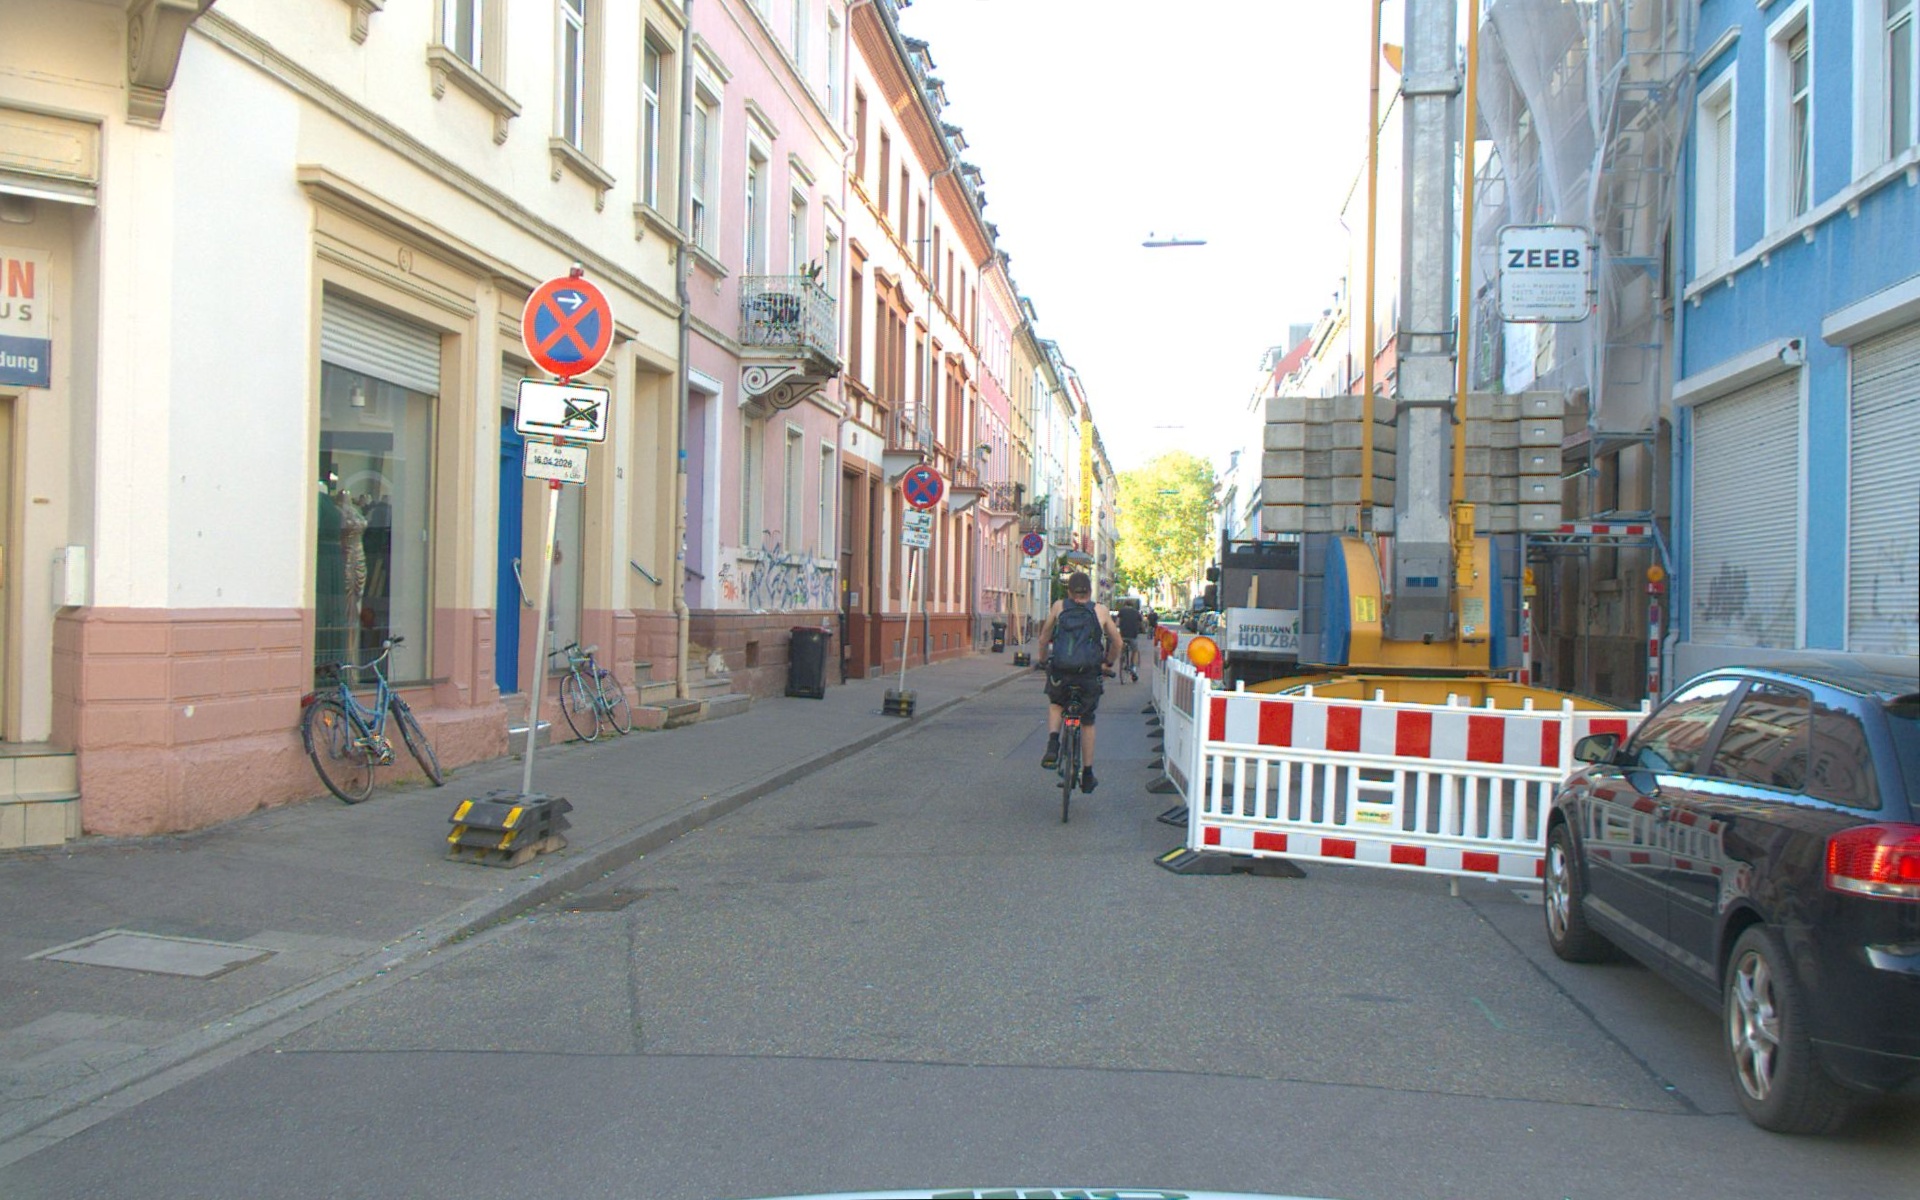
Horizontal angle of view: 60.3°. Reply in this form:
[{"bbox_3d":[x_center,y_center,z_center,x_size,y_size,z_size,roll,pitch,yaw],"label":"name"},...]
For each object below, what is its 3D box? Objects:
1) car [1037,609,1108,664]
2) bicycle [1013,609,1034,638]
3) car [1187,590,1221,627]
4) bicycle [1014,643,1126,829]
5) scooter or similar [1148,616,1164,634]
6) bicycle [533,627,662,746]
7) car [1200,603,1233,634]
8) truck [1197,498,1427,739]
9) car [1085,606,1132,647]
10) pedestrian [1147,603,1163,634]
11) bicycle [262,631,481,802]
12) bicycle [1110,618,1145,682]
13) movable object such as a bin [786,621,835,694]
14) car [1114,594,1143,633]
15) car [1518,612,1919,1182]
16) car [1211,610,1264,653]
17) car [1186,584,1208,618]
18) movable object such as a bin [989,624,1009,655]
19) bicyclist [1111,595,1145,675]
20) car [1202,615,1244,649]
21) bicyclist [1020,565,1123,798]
[{"bbox_3d":[3.168,0.995,45.861,1.674,1.407,4.509,-1,-1,7],"label":"car"},{"bbox_3d":[2.519,0.932,65.355,0.580,1.108,2.080,2,0,7],"label":"bicycle"},{"bbox_3d":[17.757,0.657,120.719,2.258,2.582,6.774,-1,-1,7],"label":"car"},{"bbox_3d":[0.867,0.961,12.467,0.687,1.229,2.344,-1,-1,7],"label":"bicycle"},{"bbox_3d":[10.473,1.337,88.451,0.754,0.888,0.771,2,0,4],"label":"scooter or similar"},{"bbox_3d":[-3.490,0.806,16.082,0.609,1.040,1.819,2,0,7],"label":"bicycle"},{"bbox_3d":[13.677,0.964,88.449,1.586,1.577,4.003,-1,-1,7],"label":"car"},{"bbox_3d":[4.840,0.248,23.994,2.605,2.863,7.398,2,0,7],"label":"truck"},{"bbox_3d":[5.700,0.984,63.131,1.636,1.467,4.168,-1,-1,7],"label":"car"},{"bbox_3d":[10.509,0.989,88.957,0.754,1.606,0.901,2,-1,4],"label":"pedestrian"},{"bbox_3d":[-4.039,0.760,11.508,0.590,1.040,1.819,5,0,8],"label":"bicycle"},{"bbox_3d":[3.530,1.024,34.673,0.687,1.229,2.344,0,1,7],"label":"bicycle"},{"bbox_3d":[-2.228,0.846,24.681,0.592,1.053,0.597,2,-1,6],"label":"movable object such as a bin"},{"bbox_3d":[11.237,0.874,110.224,1.869,2.540,4.168,0,0,5],"label":"car"},{"bbox_3d":[3.454,0.804,6.206,1.734,1.459,4.037,2,0,6],"label":"car"},{"bbox_3d":[10.573,1.180,63.144,1.778,1.548,4.003,-1,-1,7],"label":"car"},{"bbox_3d":[27.660,0.136,193.063,2.258,3.834,6.774,-1,-1,7],"label":"car"},{"bbox_3d":[1.227,1.233,51.893,0.532,0.961,0.487,2,-1,8],"label":"movable object such as a bin"},{"bbox_3d":[3.534,0.727,34.669,0.687,1.633,0.813,0,1,7],"label":"bicyclist"},{"bbox_3d":[11.679,1.399,73.646,1.674,1.407,4.003,-1,-1,7],"label":"car"},{"bbox_3d":[0.849,0.589,12.367,0.687,1.662,1.091,-1,-1,7],"label":"bicyclist"}]
